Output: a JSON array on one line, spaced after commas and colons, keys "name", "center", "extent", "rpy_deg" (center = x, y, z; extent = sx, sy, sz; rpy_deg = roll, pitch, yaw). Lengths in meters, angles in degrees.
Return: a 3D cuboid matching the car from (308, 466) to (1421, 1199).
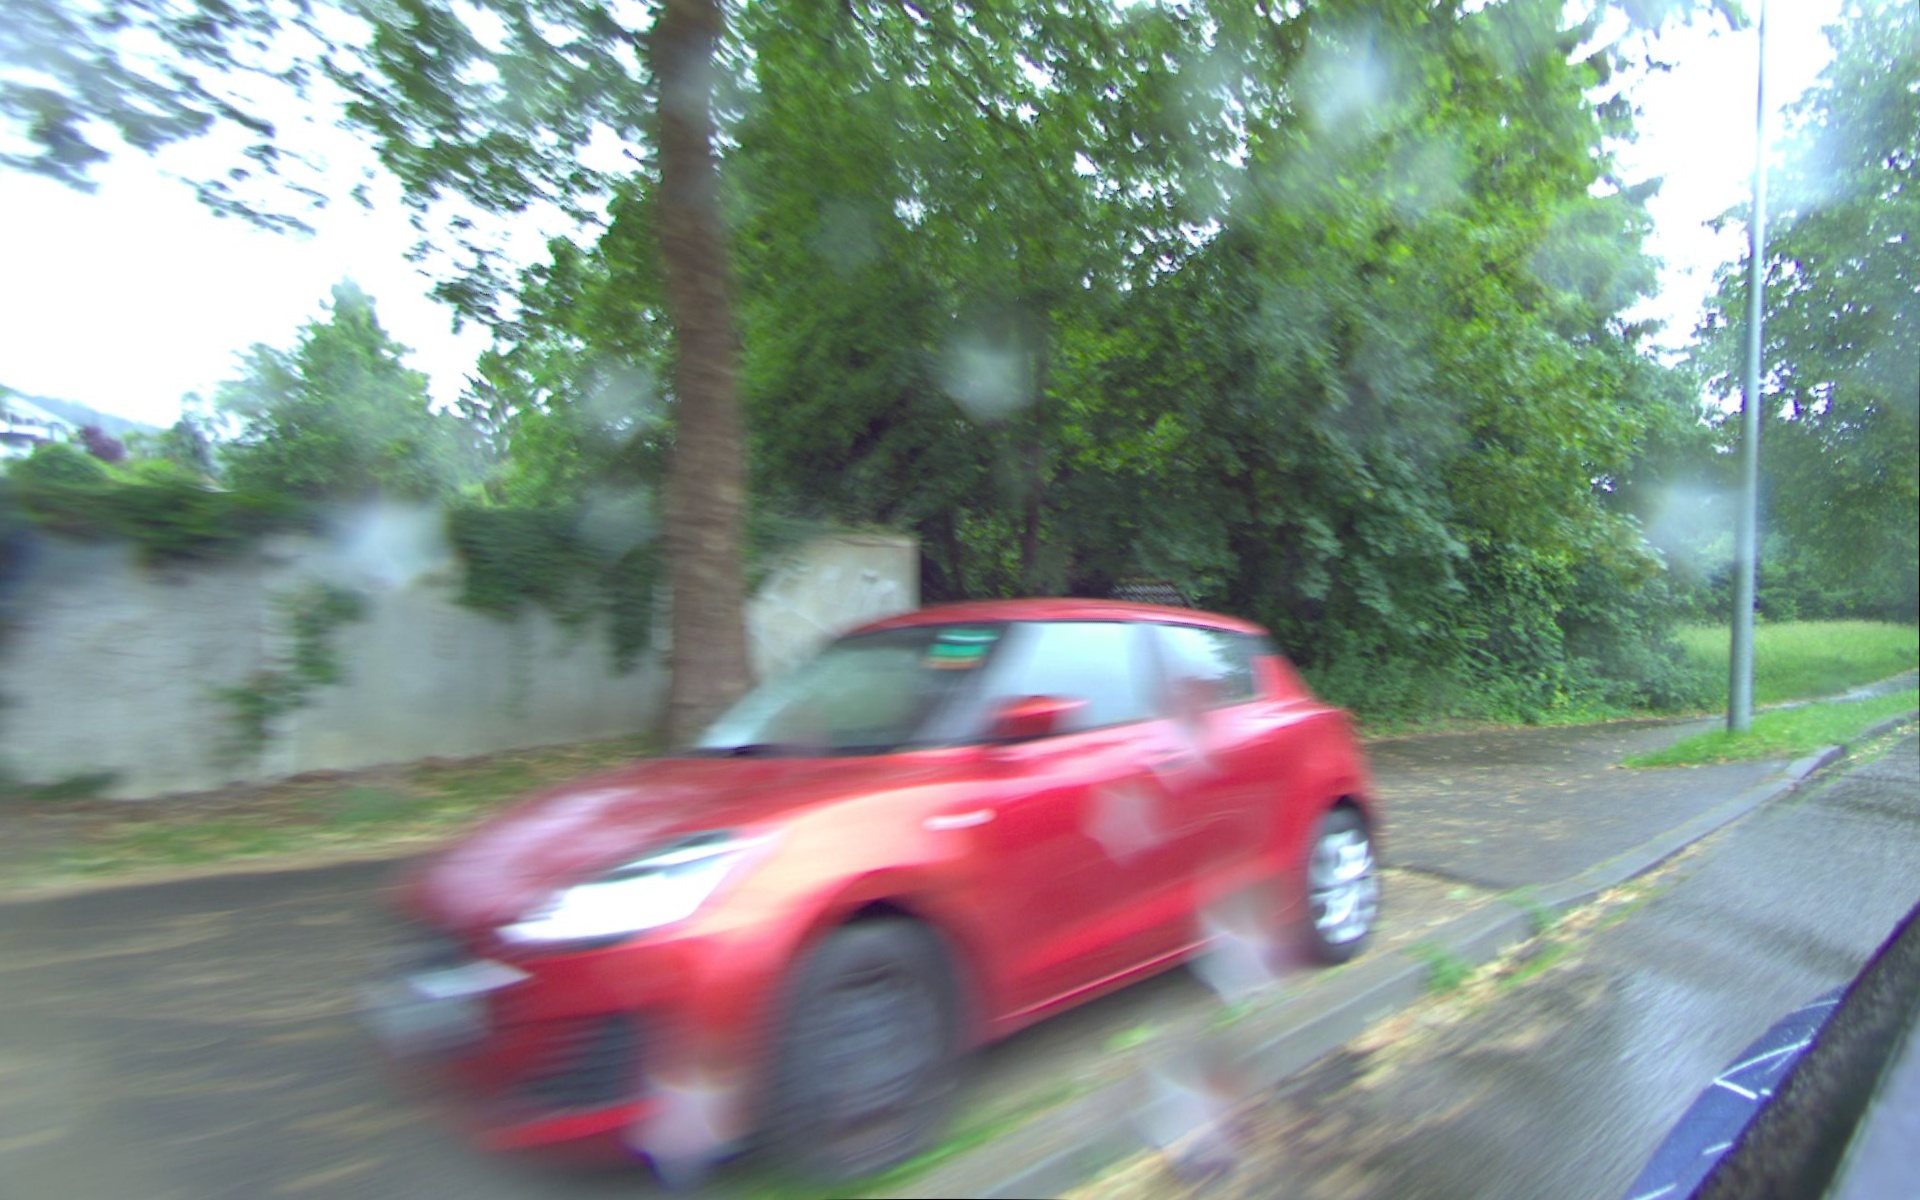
[{"name": "car", "center": [-0.064, 0.641, 3.726], "extent": [3.678, 1.538, 1.820], "rpy_deg": [2, -6, -42]}]
